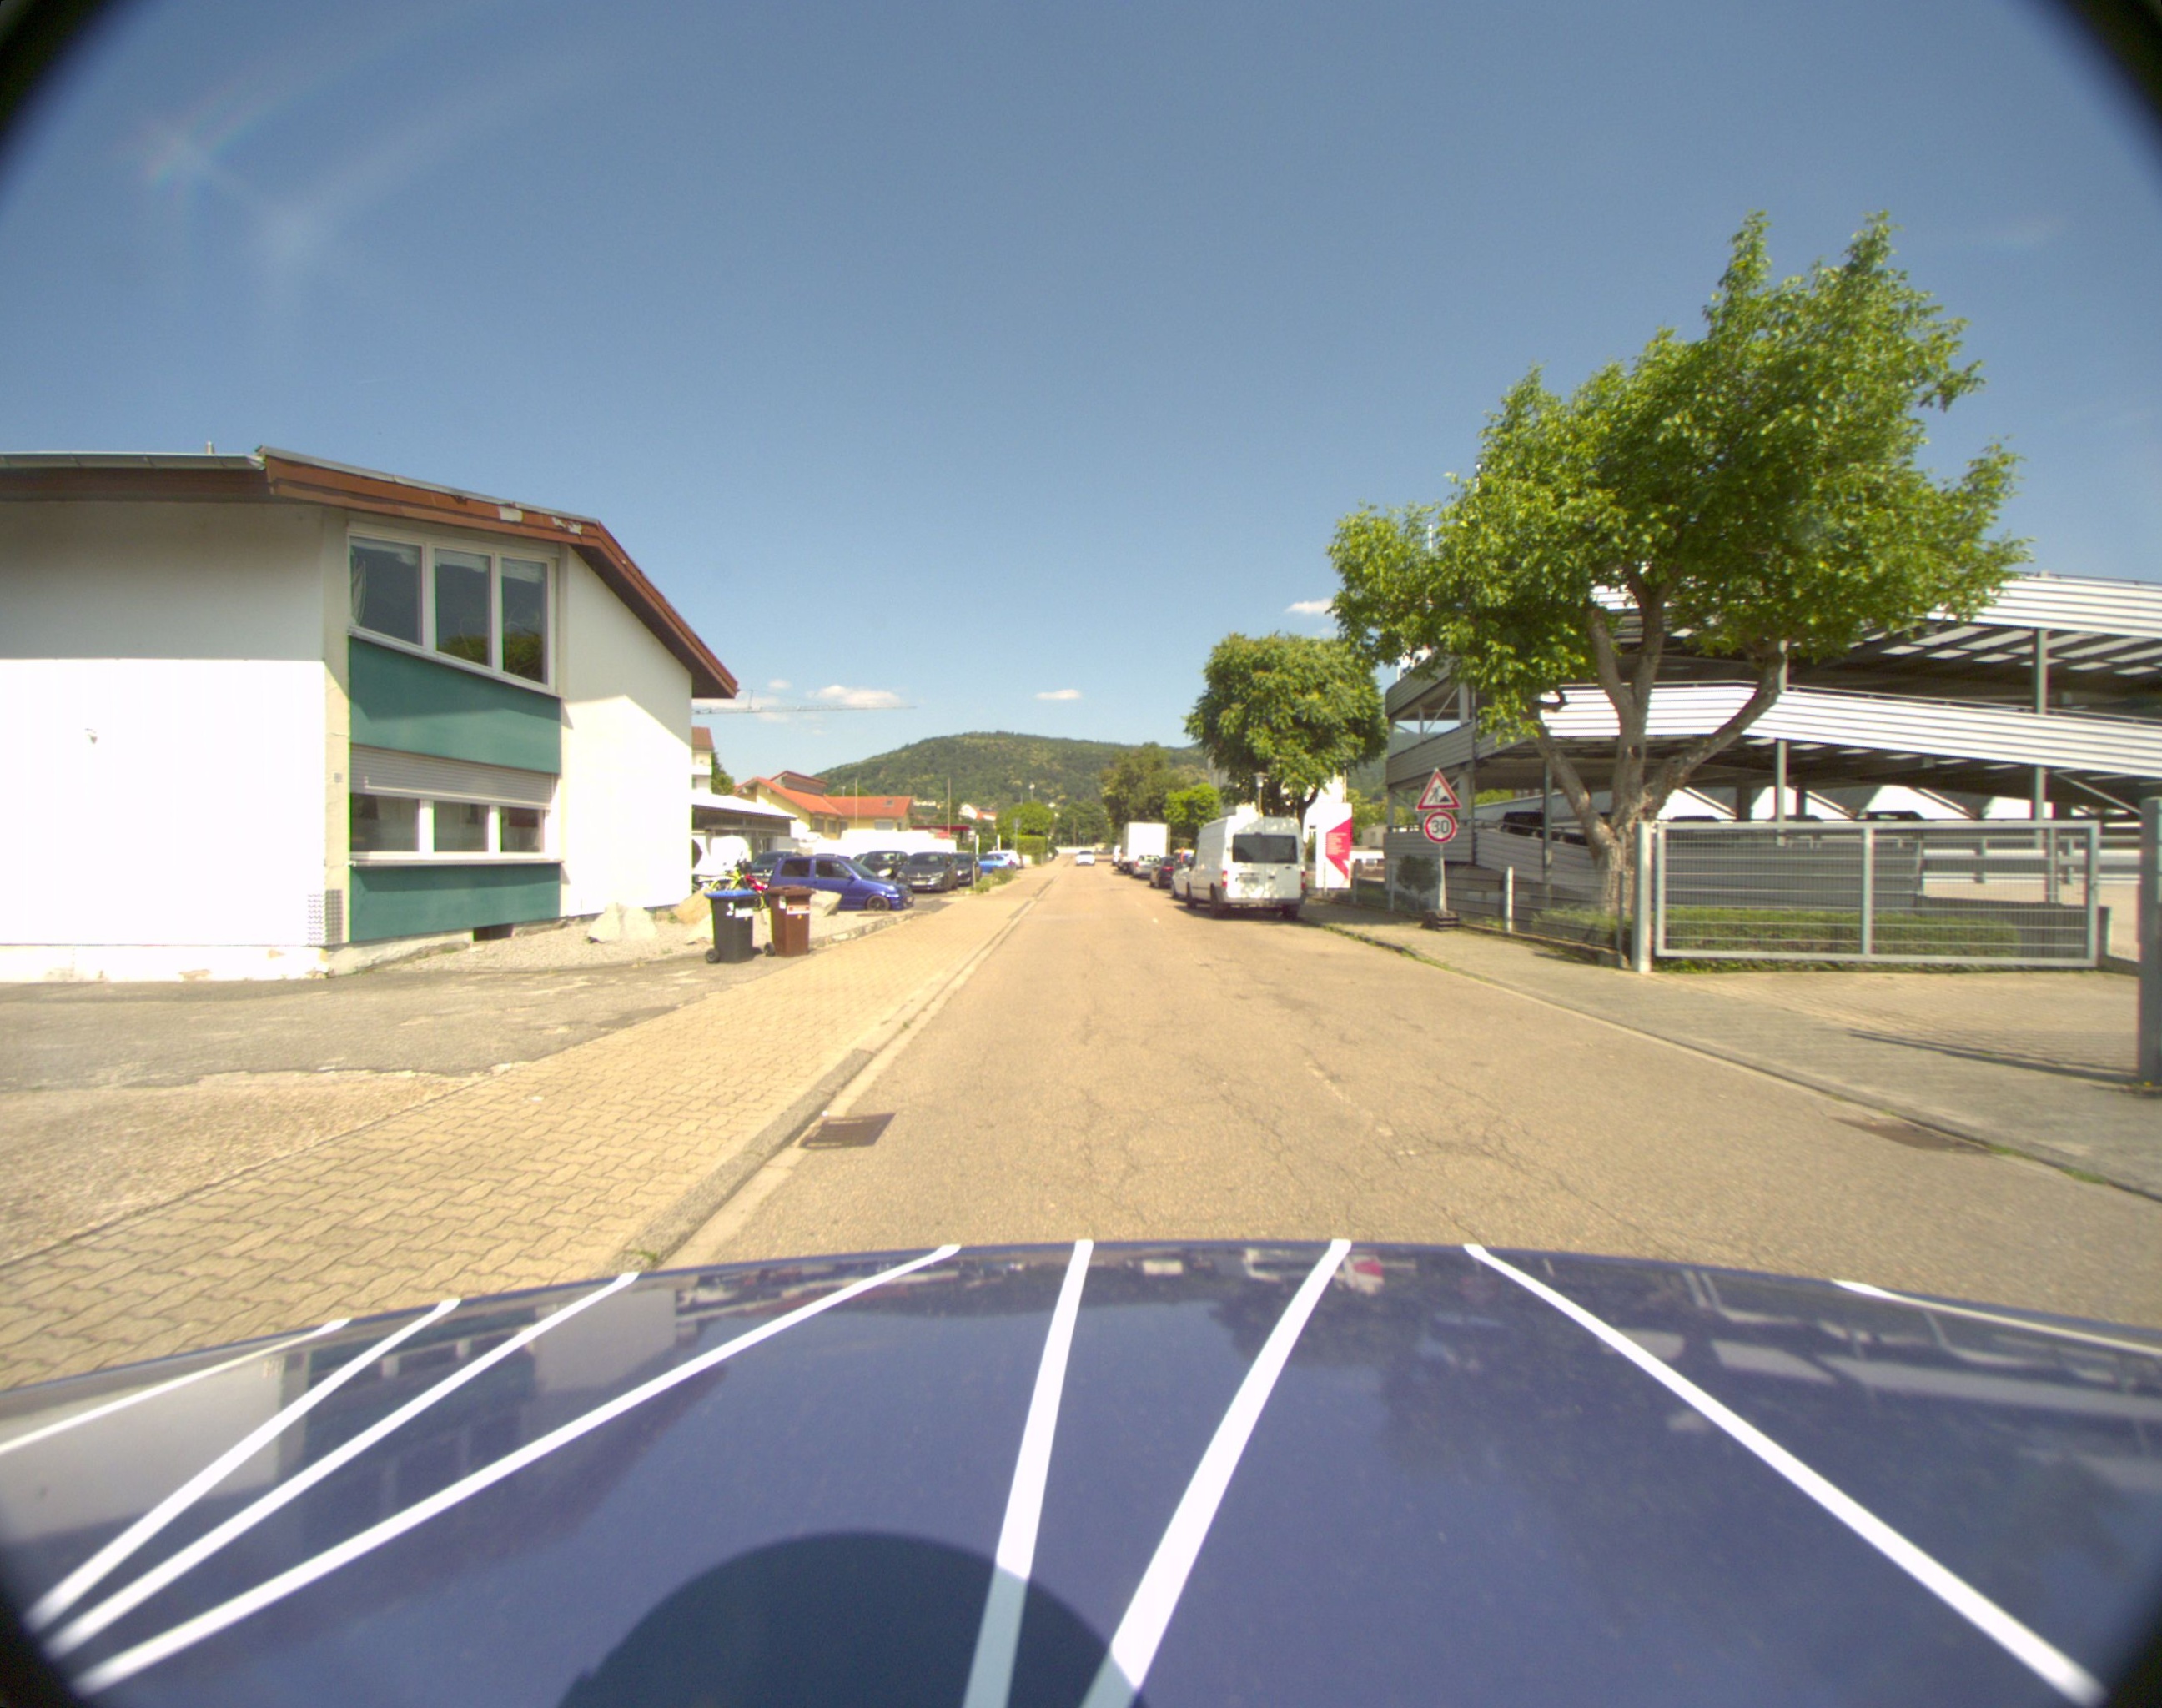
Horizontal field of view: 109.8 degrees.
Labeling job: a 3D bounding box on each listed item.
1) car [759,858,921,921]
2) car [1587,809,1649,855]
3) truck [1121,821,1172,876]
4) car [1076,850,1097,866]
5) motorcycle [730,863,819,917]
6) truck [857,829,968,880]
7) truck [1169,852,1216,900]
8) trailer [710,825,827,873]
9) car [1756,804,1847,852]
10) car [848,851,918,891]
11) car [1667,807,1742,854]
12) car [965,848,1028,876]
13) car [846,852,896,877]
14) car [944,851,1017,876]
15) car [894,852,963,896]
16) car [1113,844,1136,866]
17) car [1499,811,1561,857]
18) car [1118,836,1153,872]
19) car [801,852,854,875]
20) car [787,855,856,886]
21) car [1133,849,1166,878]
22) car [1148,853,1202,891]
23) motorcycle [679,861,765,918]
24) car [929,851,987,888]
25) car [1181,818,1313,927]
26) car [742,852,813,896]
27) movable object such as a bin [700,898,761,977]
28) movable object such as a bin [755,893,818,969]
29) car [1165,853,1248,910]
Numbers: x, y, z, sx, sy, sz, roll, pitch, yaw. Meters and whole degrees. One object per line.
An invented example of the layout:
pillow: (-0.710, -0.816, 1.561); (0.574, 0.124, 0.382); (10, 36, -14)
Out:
car: (-5.581, 0.806, 17.885); (3.261, 1.390, 1.673); (0, -1, 1)
car: (20.570, -0.889, 29.208); (1.812, 1.662, 4.007); (1, 3, 34)
truck: (4.216, -0.425, 50.355); (2.692, 3.347, 7.127); (1, 1, -1)
car: (0.539, 0.358, 76.434); (1.896, 1.412, 4.168); (2, 2, -1)
motorcycle: (-7.680, 0.886, 19.094); (1.874, 1.272, 0.796); (2, 1, -3)
truck: (-12.566, 0.022, 57.071); (7.537, 3.403, 2.526); (-3, 1, 1)
truck: (4.094, 0.772, 28.260); (1.141, 1.613, 3.140); (2, 1, -2)
trailer: (-25.502, -0.429, 62.219); (8.351, 3.841, 3.068); (0, 1, 6)
car: (27.174, -1.012, 28.782); (1.812, 1.662, 4.007); (1, 3, 34)
car: (-8.153, 0.664, 31.569); (1.763, 1.585, 3.619); (0, 0, 4)
car: (23.650, -0.938, 28.959); (1.812, 1.662, 4.007); (1, 3, 34)
car: (-5.977, 0.571, 54.167); (4.212, 1.672, 1.766); (-4, 2, 0)
car: (-13.592, 0.641, 49.475); (1.890, 1.433, 4.187); (1, 1, 3)
car: (-6.323, 0.596, 48.328); (4.364, 1.433, 1.892); (-1, 0, 0)
car: (-5.777, 0.702, 29.304); (1.816, 1.549, 4.292); (0, 0, 0)
car: (4.194, 0.047, 74.069); (1.976, 2.002, 5.055); (2, 1, 0)
car: (17.550, -0.839, 29.613); (1.812, 1.662, 4.007); (1, 3, 34)
car: (4.072, -0.075, 58.151); (2.174, 2.581, 6.918); (1, 1, 0)
car: (-16.453, 0.594, 49.485); (1.890, 1.384, 4.027); (1, 1, 4)
car: (-11.967, 0.713, 35.296); (1.645, 1.317, 4.101); (0, 1, 3)
car: (3.917, 0.509, 44.075); (1.745, 1.512, 4.310); (1, 1, 3)
car: (3.994, 0.721, 32.930); (1.709, 1.454, 4.113); (1, 1, -1)
motorcycle: (-8.446, 0.825, 17.878); (1.758, 1.272, 0.794); (1, 1, -30)
car: (-5.557, 0.638, 34.948); (1.863, 1.558, 4.950); (0, 0, 0)
car: (4.007, 0.389, 19.344); (2.010, 2.352, 5.228); (2, 0, -2)
car: (-11.654, 0.722, 29.414); (1.766, 1.487, 4.145); (1, 1, -11)
movable object such as a bin: (-4.458, 1.046, 9.686); (0.514, 0.940, 0.488); (1, 1, 12)
movable object such as a bin: (-3.941, 1.017, 10.188); (0.567, 0.940, 0.558); (1, 1, 34)
car: (3.990, 0.828, 24.729); (1.709, 1.615, 3.971); (2, 1, -4)
